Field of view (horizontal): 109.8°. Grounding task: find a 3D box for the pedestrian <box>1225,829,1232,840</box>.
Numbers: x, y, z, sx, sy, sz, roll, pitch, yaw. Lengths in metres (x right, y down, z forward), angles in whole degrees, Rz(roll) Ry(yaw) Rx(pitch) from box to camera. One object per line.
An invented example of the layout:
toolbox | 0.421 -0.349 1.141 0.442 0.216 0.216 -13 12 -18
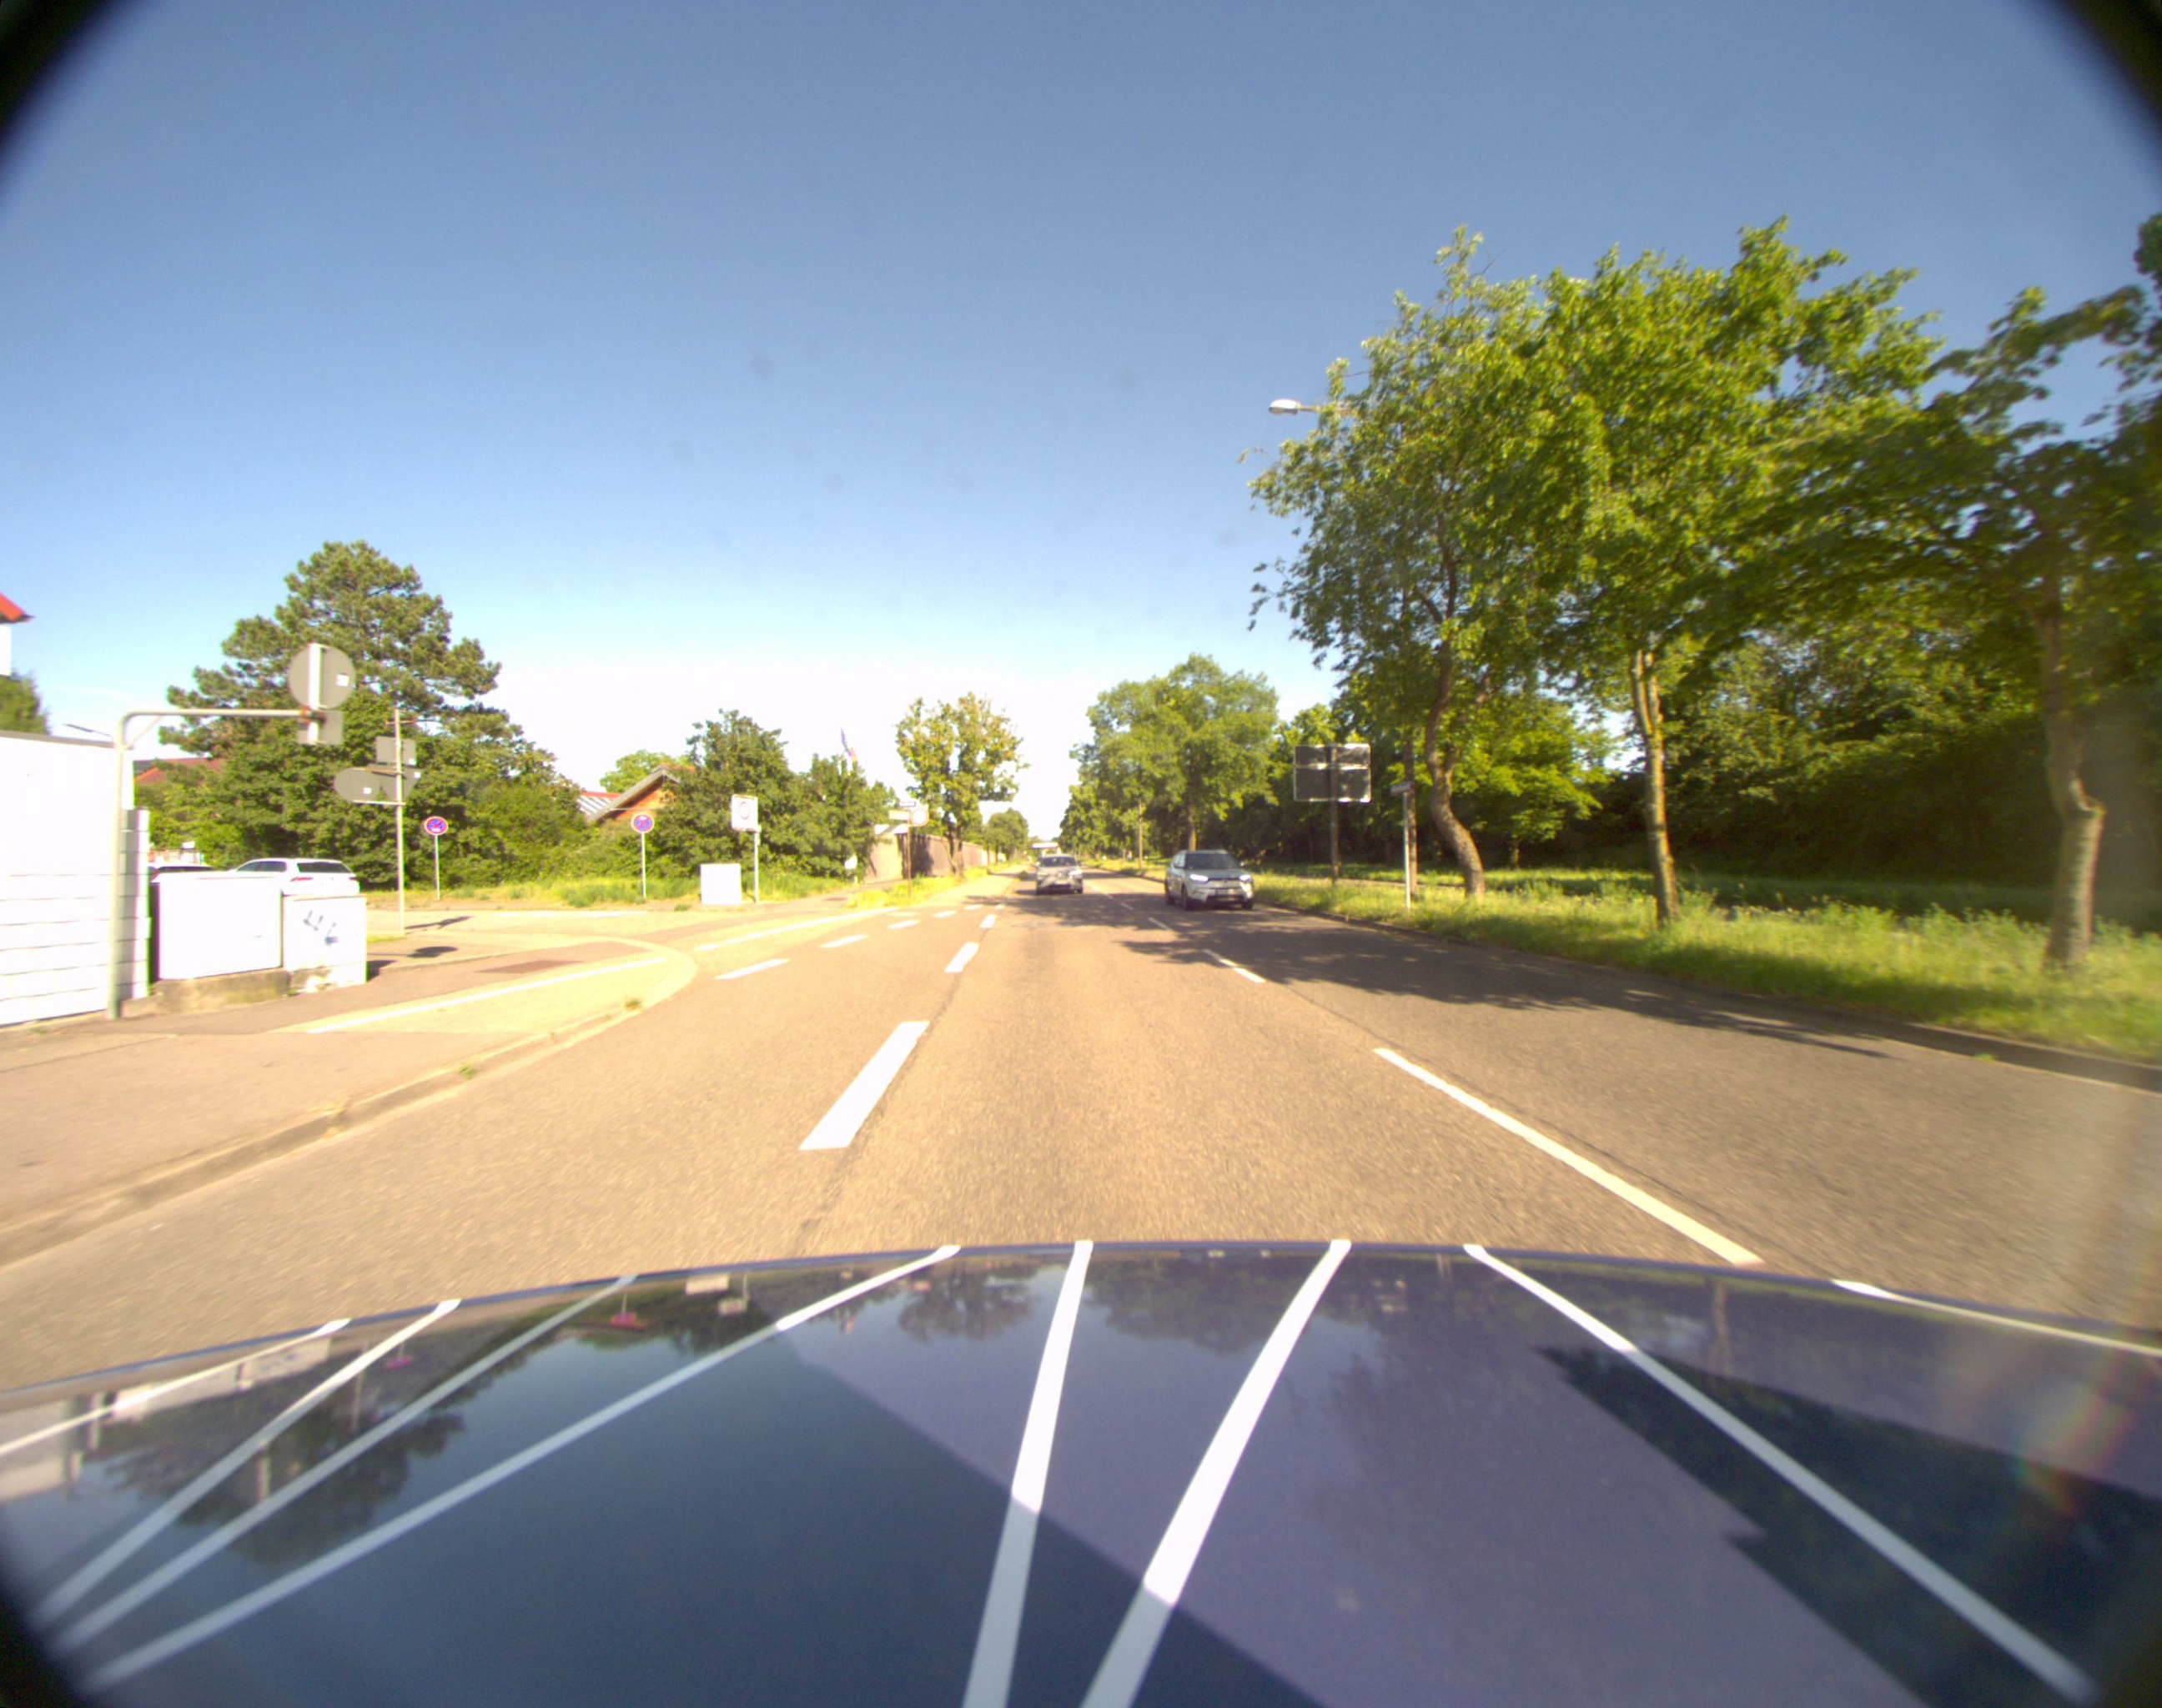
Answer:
pedestrian | 23.187 -3.035 119.533 0.683 1.650 0.679 -5 3 -4

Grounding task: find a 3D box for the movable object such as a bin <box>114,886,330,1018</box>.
movable object such as a bin | -8.848 0.974 7.889 1.004 1.198 1.062 0 2 4

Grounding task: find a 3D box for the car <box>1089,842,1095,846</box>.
car | 3.577 -3.325 257.202 1.731 1.448 4.344 -1 1 -3

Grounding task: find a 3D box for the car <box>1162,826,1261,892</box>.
car | 3.457 0.091 20.898 1.789 1.601 4.104 -2 1 -3

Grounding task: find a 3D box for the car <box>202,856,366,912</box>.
car | -24.696 0.915 23.585 3.917 1.475 1.845 -3 0 16

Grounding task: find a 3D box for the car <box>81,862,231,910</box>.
car | -30.653 1.036 25.202 3.743 1.475 1.784 -1 0 16

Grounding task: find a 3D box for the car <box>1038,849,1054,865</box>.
car | -4.048 0.320 87.763 1.766 1.606 4.295 -4 1 -3

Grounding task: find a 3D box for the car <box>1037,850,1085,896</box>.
car | -0.885 0.713 31.428 1.766 1.606 4.295 -4 1 -3
